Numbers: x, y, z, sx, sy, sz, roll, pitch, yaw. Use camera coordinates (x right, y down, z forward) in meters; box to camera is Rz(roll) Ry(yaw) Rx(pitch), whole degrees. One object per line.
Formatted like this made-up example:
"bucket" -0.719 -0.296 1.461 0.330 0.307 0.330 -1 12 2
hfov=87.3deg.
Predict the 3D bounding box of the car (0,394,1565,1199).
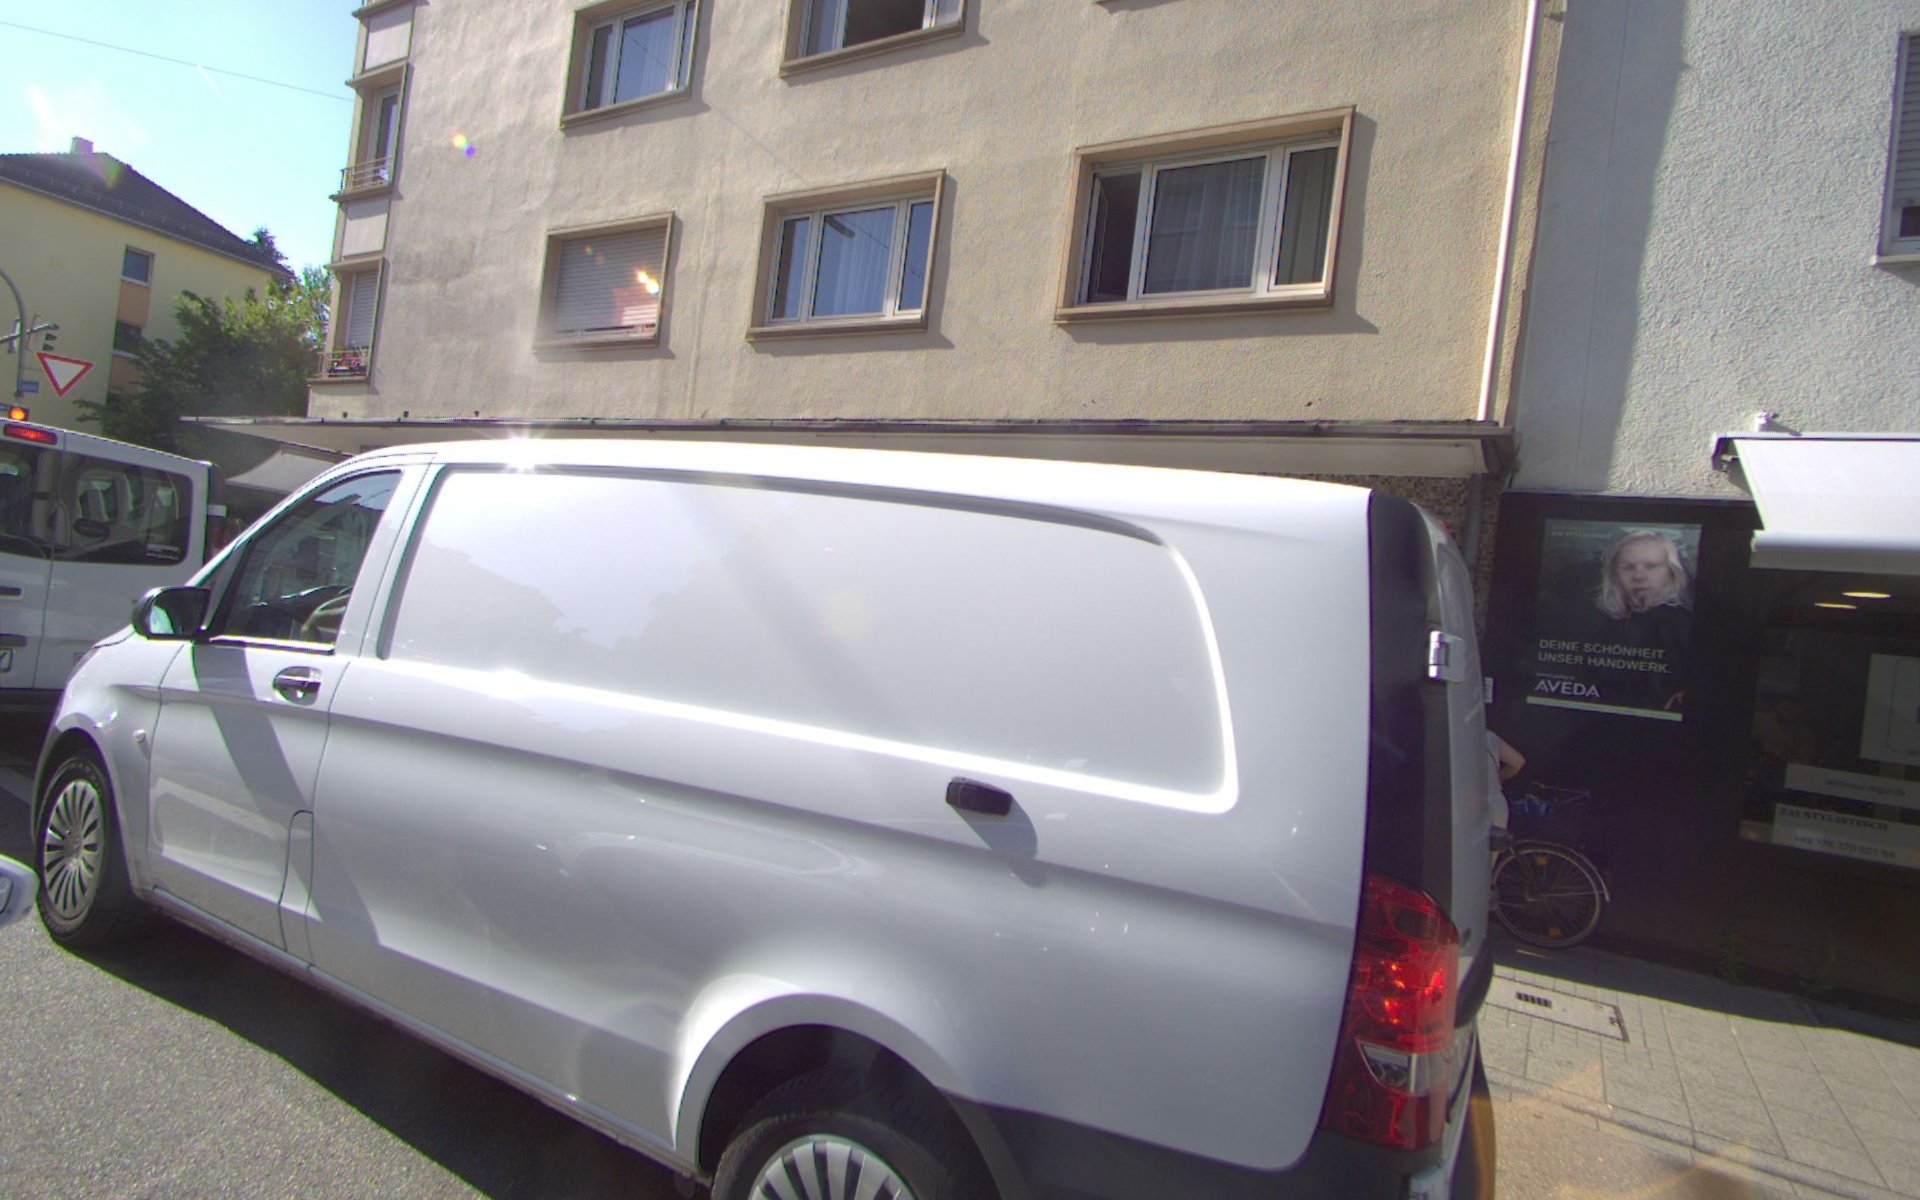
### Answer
"car" -0.999 0.509 3.322 4.912 1.891 1.840 7 -1 30

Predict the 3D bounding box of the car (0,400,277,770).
"car" -7.148 -0.275 6.936 4.813 2.001 1.999 7 -3 31
